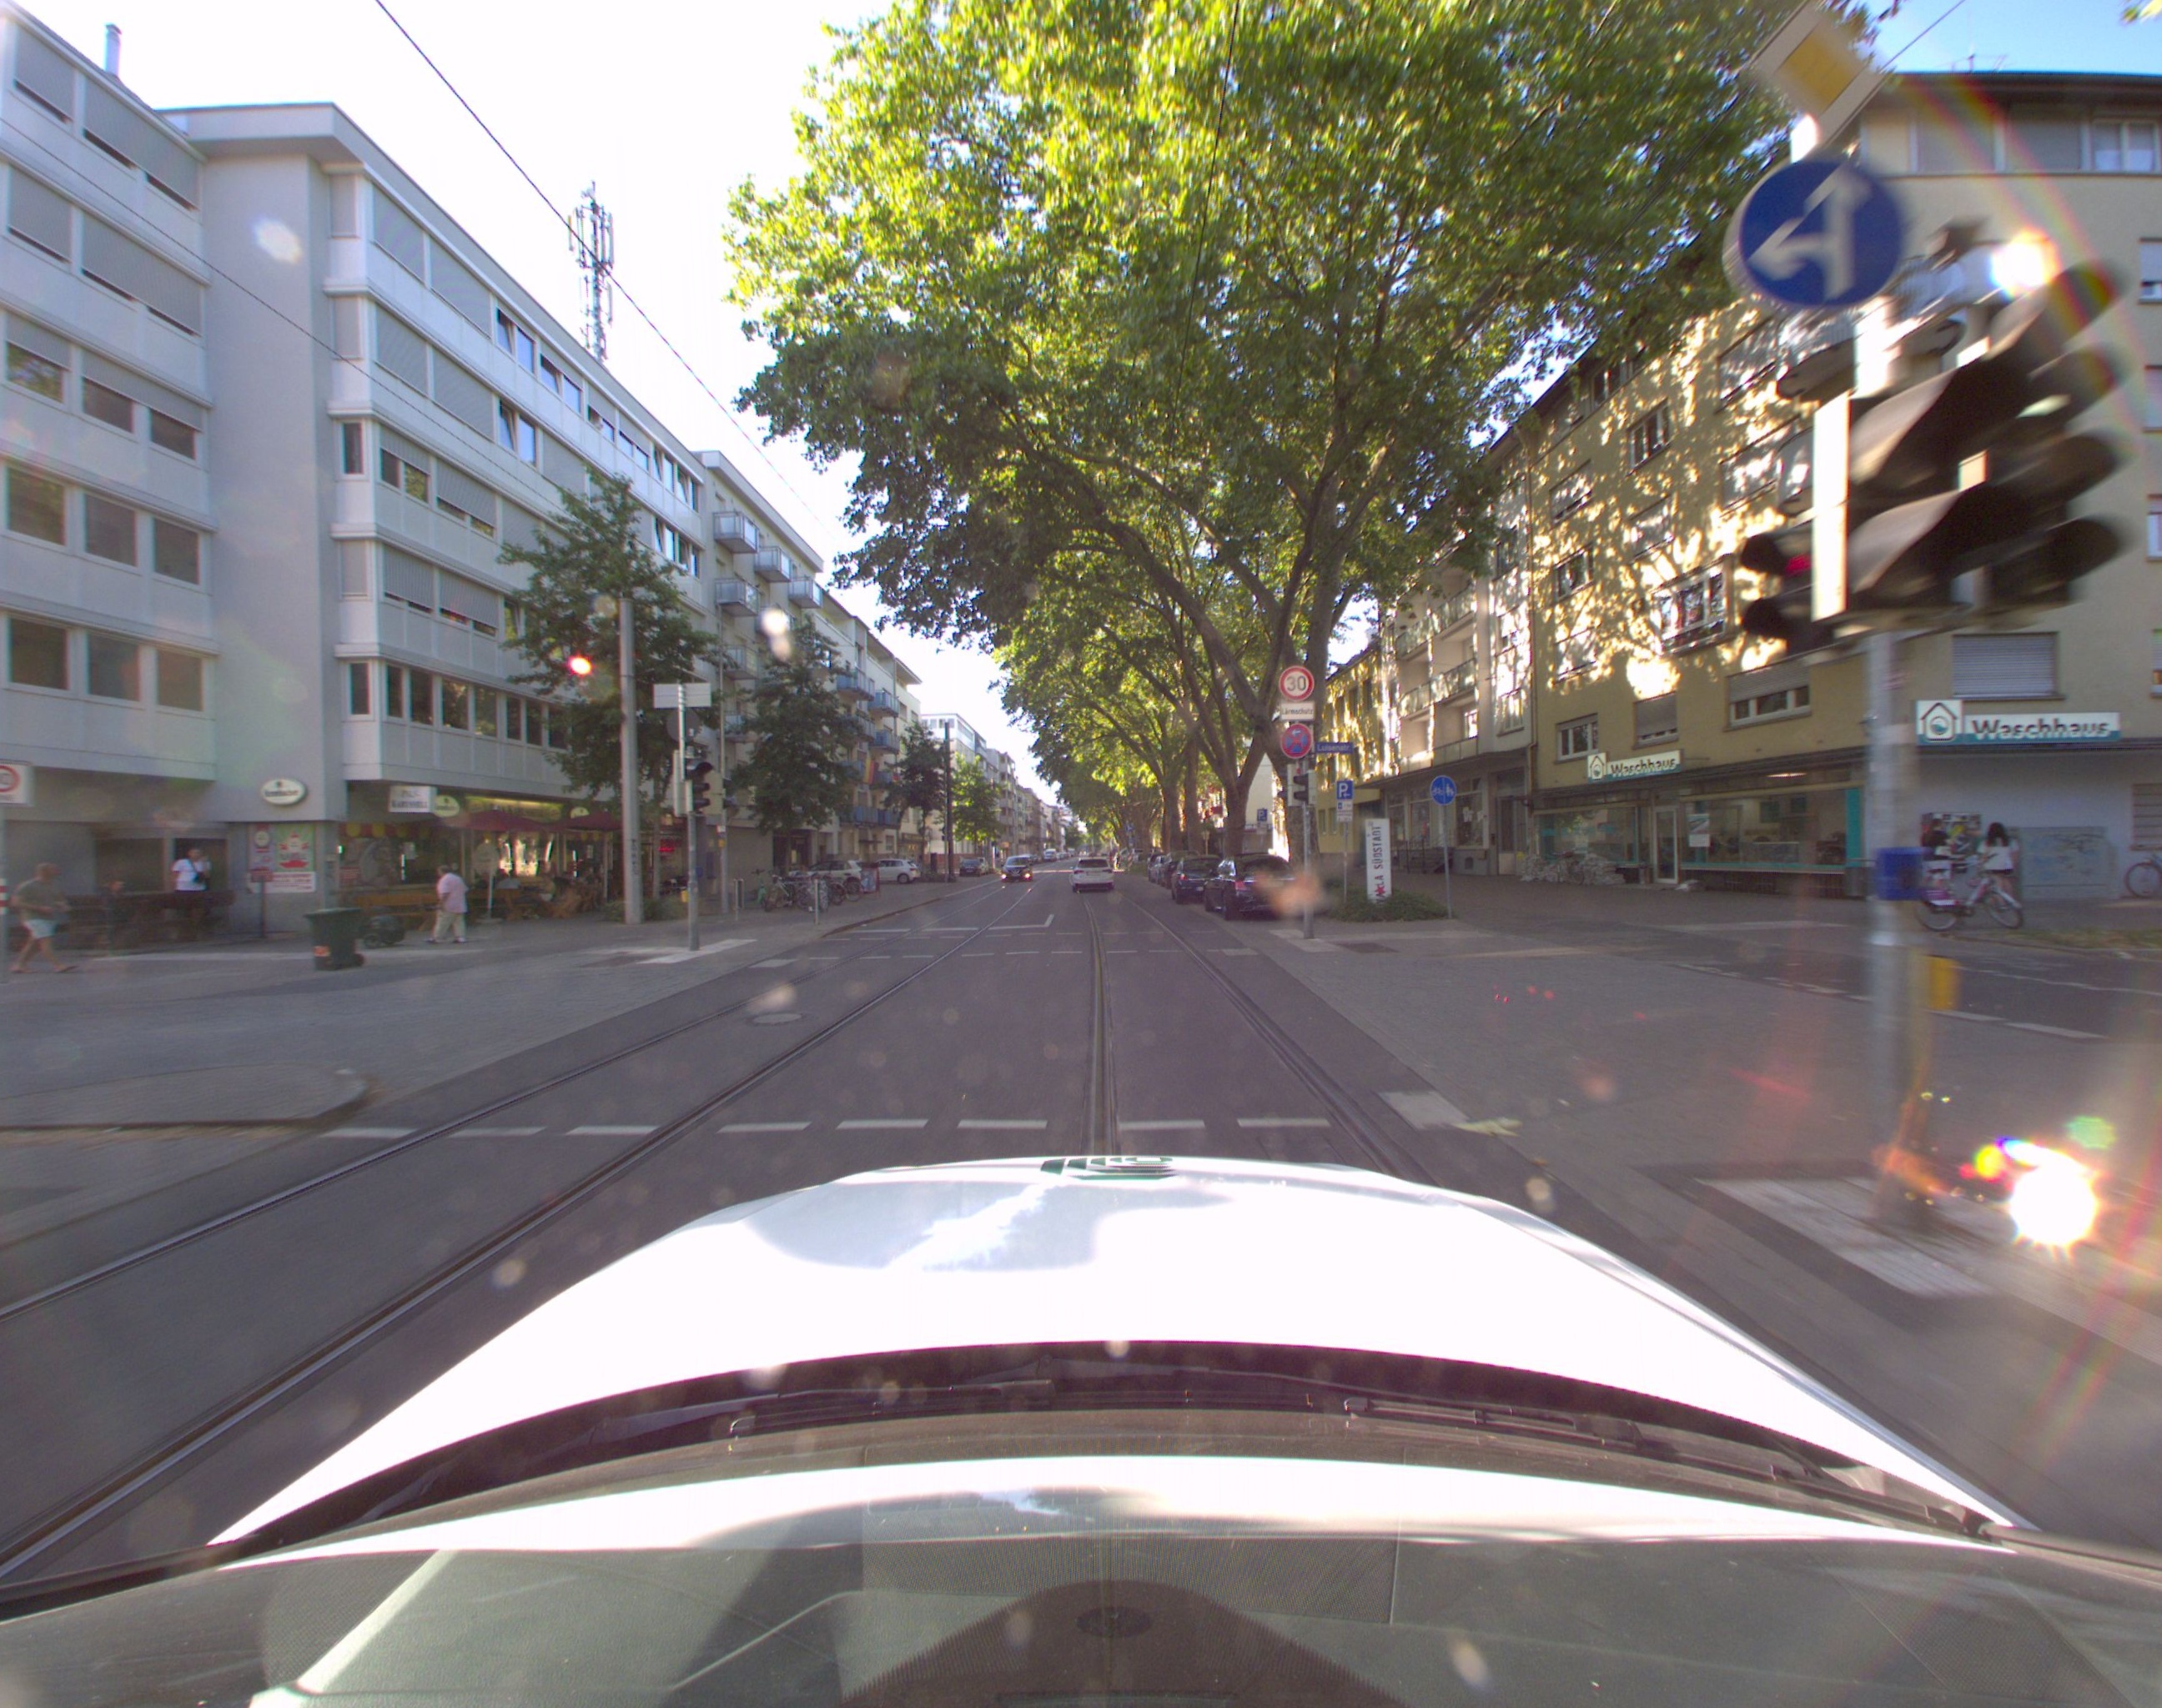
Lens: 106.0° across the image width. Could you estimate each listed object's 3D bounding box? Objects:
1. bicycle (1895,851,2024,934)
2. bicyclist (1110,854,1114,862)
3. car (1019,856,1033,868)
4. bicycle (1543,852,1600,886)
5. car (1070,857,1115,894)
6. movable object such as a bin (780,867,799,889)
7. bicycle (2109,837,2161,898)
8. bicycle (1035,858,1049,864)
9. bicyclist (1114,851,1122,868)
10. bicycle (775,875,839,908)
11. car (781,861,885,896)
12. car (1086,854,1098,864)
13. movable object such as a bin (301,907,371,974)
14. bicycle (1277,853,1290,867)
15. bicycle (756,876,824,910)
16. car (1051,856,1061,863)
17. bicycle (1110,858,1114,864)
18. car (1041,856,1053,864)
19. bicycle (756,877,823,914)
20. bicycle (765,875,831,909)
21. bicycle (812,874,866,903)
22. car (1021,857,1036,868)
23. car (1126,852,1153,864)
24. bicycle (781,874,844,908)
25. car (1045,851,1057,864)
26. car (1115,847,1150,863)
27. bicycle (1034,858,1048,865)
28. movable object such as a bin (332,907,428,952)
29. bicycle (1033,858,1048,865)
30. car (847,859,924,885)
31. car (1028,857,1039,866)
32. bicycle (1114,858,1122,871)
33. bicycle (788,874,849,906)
[{"bbox_3d":[13.916,0.586,12.902,1.798,1.156,0.740,-3,0,-21],"label":"bicycle"},{"bbox_3d":[5.092,0.698,134.837,0.647,1.344,0.934,-2,0,-1],"label":"bicyclist"},{"bbox_3d":[-7.646,1.082,113.415,1.697,1.650,4.241,1,0,0],"label":"car"},{"bbox_3d":[15.320,0.466,25.474,0.569,0.997,1.778,-3,0,-3],"label":"bicycle"},{"bbox_3d":[0.470,0.867,34.365,1.756,1.384,3.999,-2,0,0],"label":"car"},{"bbox_3d":[-14.440,1.204,40.333,0.675,1.055,0.622,-2,0,3],"label":"movable object such as a bin"},{"bbox_3d":[21.854,0.249,16.324,1.686,1.156,0.602,-3,0,0],"label":"bicycle"},{"bbox_3d":[-7.209,1.328,150.709,2.520,1.172,0.718,1,-2,-5],"label":"bicycle"},{"bbox_3d":[3.293,0.501,72.860,0.676,1.443,1.047,-2,0,2],"label":"bicyclist"},{"bbox_3d":[-8.734,1.186,25.990,1.825,1.007,0.657,0,-1,-4],"label":"bicycle"},{"bbox_3d":[-10.847,1.049,35.795,3.997,1.475,1.852,0,-1,1],"label":"car"},{"bbox_3d":[1.736,0.720,127.246,1.755,1.475,4.002,-2,0,2],"label":"car"},{"bbox_3d":[-11.450,1.312,12.533,0.540,0.932,0.646,-2,0,-16],"label":"movable object such as a bin"},{"bbox_3d":[17.271,0.501,69.606,0.580,1.104,1.923,-3,0,1],"label":"bicycle"},{"bbox_3d":[-8.883,1.188,24.904,1.825,1.007,0.657,0,-1,-4],"label":"bicycle"},{"bbox_3d":[-5.776,1.237,190.128,1.986,1.530,4.001,-1,0,1],"label":"car"},{"bbox_3d":[5.110,1.135,134.822,0.647,1.071,1.582,-2,0,-1],"label":"bicycle"},{"bbox_3d":[-6.538,1.146,158.075,1.986,1.530,4.001,-1,0,1],"label":"car"},{"bbox_3d":[-8.369,1.177,23.414,1.687,1.007,0.657,0,-1,-4],"label":"bicycle"},{"bbox_3d":[-8.781,1.174,25.344,1.825,1.007,0.657,0,-1,-4],"label":"bicycle"},{"bbox_3d":[-8.460,1.201,28.472,1.687,1.007,0.657,0,-1,-4],"label":"bicycle"},{"bbox_3d":[-7.603,1.160,118.253,1.696,1.544,4.243,1,0,1],"label":"car"},{"bbox_3d":[8.874,0.594,123.143,3.974,1.680,1.723,-1,0,0],"label":"car"},{"bbox_3d":[-8.664,1.194,26.309,1.825,1.064,0.657,0,-1,-4],"label":"bicycle"},{"bbox_3d":[-6.208,0.670,169.802,2.170,2.597,4.950,-1,0,1],"label":"car"},{"bbox_3d":[9.283,0.216,148.013,6.112,2.635,2.528,-1,0,-1],"label":"car"},{"bbox_3d":[-7.263,1.318,146.930,2.521,1.172,0.718,1,-2,-6],"label":"bicycle"},{"bbox_3d":[-13.138,1.406,15.289,1.197,0.757,0.661,0,-1,-21],"label":"movable object such as a bin"},{"bbox_3d":[-7.276,1.315,146.106,2.545,1.172,0.873,2,-2,-39],"label":"bicycle"},{"bbox_3d":[-11.362,1.049,47.480,4.001,1.475,1.850,0,-1,-2],"label":"car"},{"bbox_3d":[-7.512,1.192,129.100,1.648,1.437,3.836,-1,0,0],"label":"car"},{"bbox_3d":[3.312,0.938,73.031,0.679,1.071,1.781,-2,0,2],"label":"bicycle"},{"bbox_3d":[-8.711,1.190,27.100,1.825,1.007,0.657,0,-1,-4],"label":"bicycle"}]
